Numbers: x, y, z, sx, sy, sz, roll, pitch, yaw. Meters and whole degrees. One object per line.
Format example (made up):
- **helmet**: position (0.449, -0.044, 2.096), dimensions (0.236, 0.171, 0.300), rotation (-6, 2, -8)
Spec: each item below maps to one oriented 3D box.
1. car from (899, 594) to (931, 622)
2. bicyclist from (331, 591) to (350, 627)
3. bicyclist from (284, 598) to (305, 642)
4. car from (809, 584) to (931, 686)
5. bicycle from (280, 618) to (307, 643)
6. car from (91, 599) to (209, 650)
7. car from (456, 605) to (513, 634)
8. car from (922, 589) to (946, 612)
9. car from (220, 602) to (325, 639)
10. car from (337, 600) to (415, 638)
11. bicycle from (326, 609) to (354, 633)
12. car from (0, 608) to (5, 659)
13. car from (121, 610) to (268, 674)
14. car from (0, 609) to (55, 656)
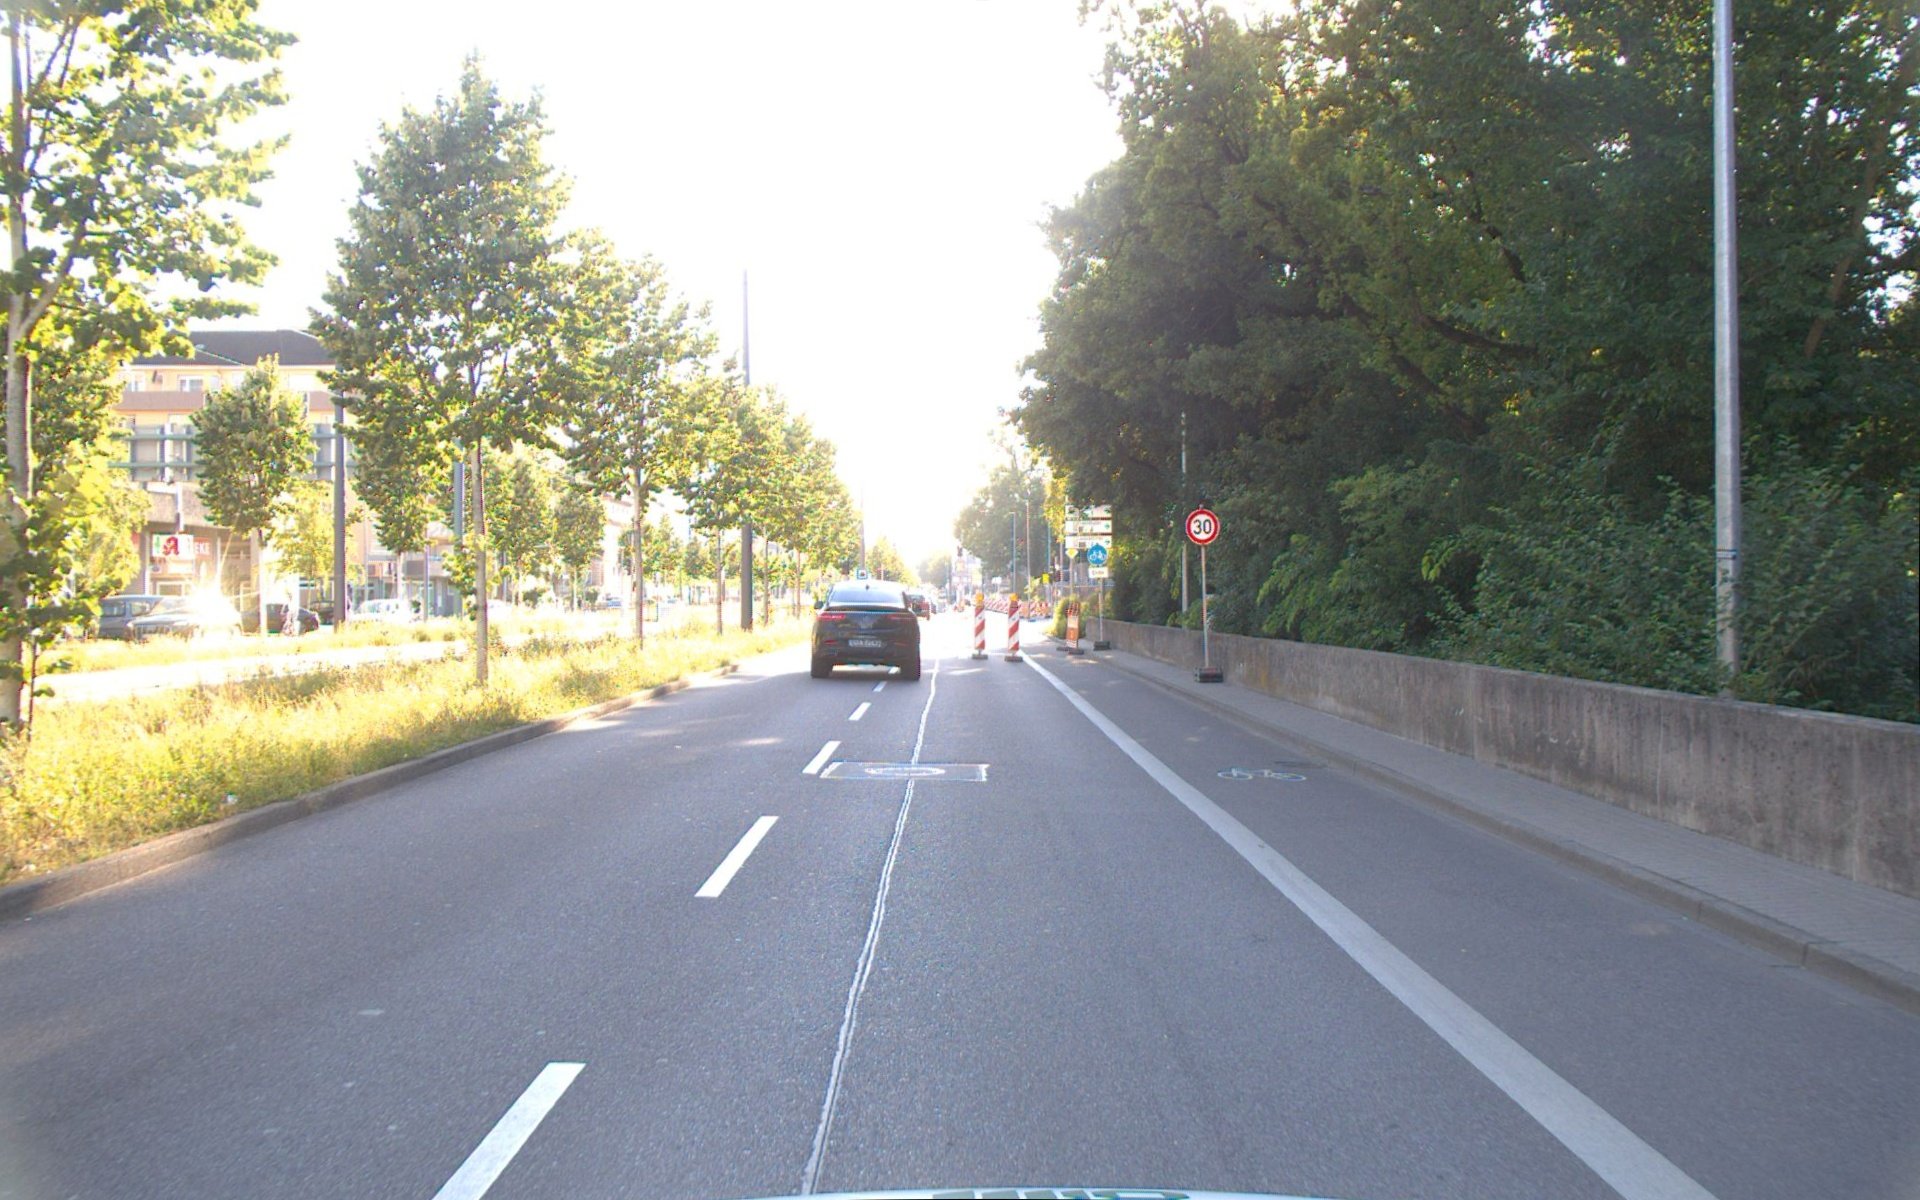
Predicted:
- **car**: position (-2.640, 0.471, 98.621), dimensions (1.847, 1.608, 3.999), rotation (1, 1, -1)
- **bicyclist**: position (-27.791, 0.398, 74.219), dimensions (0.540, 1.571, 0.682), rotation (1, 0, 0)
- **bicyclist**: position (-28.189, 0.849, 70.059), dimensions (0.529, 1.819, 0.857), rotation (1, 0, -3)
- **car**: position (-1.747, 0.593, 30.797), dimensions (1.956, 1.765, 3.993), rotation (1, 0, -8)
- **bicycle**: position (-28.189, 1.276, 69.977), dimensions (0.533, 1.010, 1.710), rotation (1, 0, -3)
- **car**: position (-30.786, 0.905, 62.923), dimensions (3.724, 1.861, 1.798), rotation (1, 0, -41)
- **car**: position (-25.963, 1.047, 90.379), dimensions (1.846, 1.541, 4.001), rotation (1, 0, 1)
- **car**: position (-1.952, 0.017, 123.326), dimensions (1.731, 1.632, 3.772), rotation (-1, 0, -1)
- **car**: position (-30.908, 0.933, 74.427), dimensions (3.967, 1.590, 1.969), rotation (1, 0, -43)
- **car**: position (-25.139, 0.809, 71.310), dimensions (1.846, 1.541, 4.001), rotation (1, 0, 1)
- **bicycle**: position (-27.795, 0.931, 74.163), dimensions (0.543, 1.058, 1.791), rotation (1, 0, 0)
- **car**: position (-30.921, 0.974, 49.692), dimensions (3.594, 1.550, 1.596), rotation (2, -1, -42)
- **car**: position (-22.346, 1.185, 48.524), dimensions (1.846, 1.718, 5.090), rotation (1, 0, 1)
- **car**: position (-31.217, 1.028, 52.560), dimensions (1.754, 1.478, 3.977), rotation (1, 0, 41)
